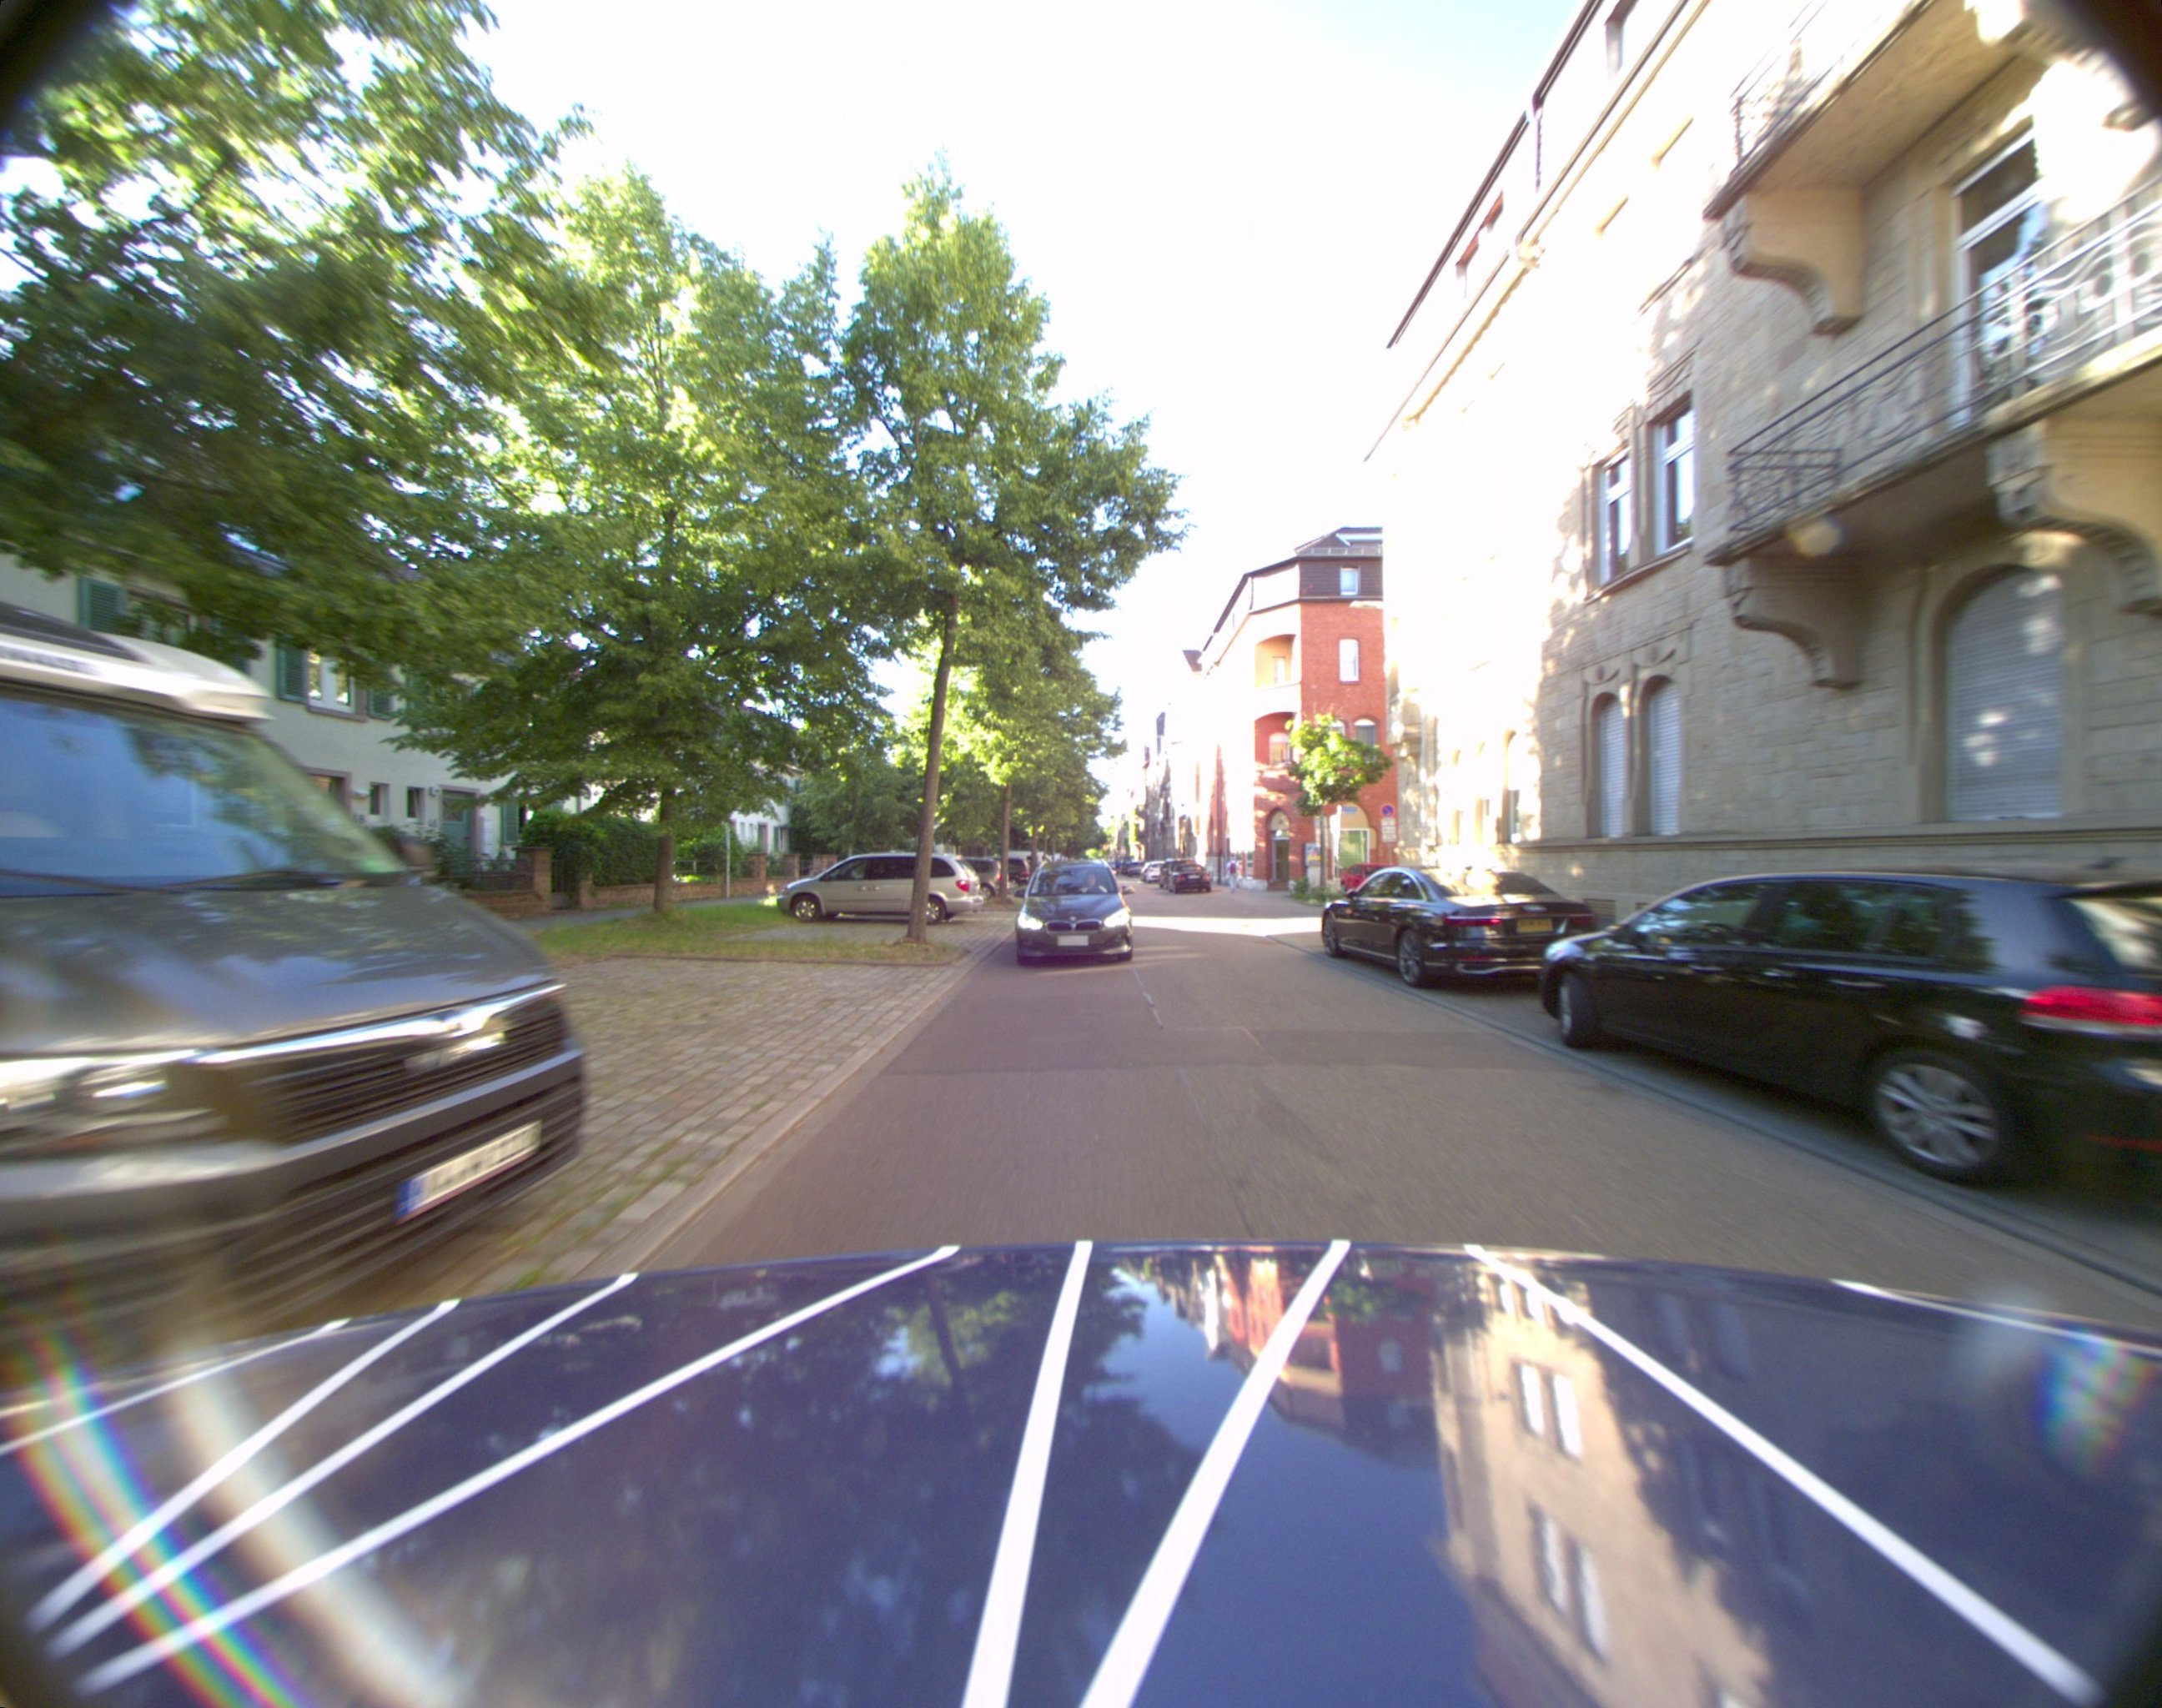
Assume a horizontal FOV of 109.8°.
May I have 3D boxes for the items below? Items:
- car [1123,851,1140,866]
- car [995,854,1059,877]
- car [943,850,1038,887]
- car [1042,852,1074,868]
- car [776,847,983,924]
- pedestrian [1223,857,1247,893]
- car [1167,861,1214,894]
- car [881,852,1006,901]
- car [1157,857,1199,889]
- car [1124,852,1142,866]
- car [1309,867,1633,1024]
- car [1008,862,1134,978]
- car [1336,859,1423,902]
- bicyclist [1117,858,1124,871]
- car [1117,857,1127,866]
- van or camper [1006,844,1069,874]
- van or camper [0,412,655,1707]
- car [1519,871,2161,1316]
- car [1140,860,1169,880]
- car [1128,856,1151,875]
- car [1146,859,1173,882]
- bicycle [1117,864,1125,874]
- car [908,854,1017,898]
[{"bbox_3d":[6.060,0.491,91.463,1.774,1.658,4.212,-1,1,0],"label":"car"},{"bbox_3d":[-4.157,0.853,59.041,4.850,1.530,1.894,3,0,-1],"label":"car"},{"bbox_3d":[-4.695,0.766,39.900,4.592,1.667,1.907,3,0,3],"label":"car"},{"bbox_3d":[-4.024,1.059,133.329,5.448,2.646,2.134,1,0,1],"label":"car"},{"bbox_3d":[-4.924,0.745,19.023,4.630,1.699,1.833,2,0,2],"label":"car"},{"bbox_3d":[7.052,0.939,34.784,0.890,1.568,1.053,-1,2,1],"label":"pedestrian"},{"bbox_3d":[5.244,1.083,36.838,1.640,1.402,4.333,-3,0,1],"label":"car"},{"bbox_3d":[-5.221,0.849,29.383,4.552,1.624,1.811,3,0,-5],"label":"car"},{"bbox_3d":[5.338,1.017,42.416,1.673,1.671,4.349,-1,0,-1],"label":"car"},{"bbox_3d":[5.763,0.553,84.909,1.774,1.493,4.211,0,1,0],"label":"car"},{"bbox_3d":[4.735,0.983,10.238,1.816,1.418,4.898,-3,0,0],"label":"car"},{"bbox_3d":[-0.095,0.969,13.197,1.753,1.596,4.551,-2,-1,1],"label":"car"},{"bbox_3d":[11.524,0.968,29.670,1.640,1.460,4.658,-1,0,1],"label":"car"},{"bbox_3d":[4.362,1.168,83.539,0.761,1.445,0.948,1,1,0],"label":"bicyclist"},{"bbox_3d":[7.289,1.402,135.844,1.686,1.496,3.629,-4,-1,2],"label":"car"},{"bbox_3d":[-4.119,0.503,72.559,5.733,2.502,2.162,3,0,0],"label":"van or camper"},{"bbox_3d":[-5.695,0.281,2.494,7.163,2.631,2.465,3,0,3],"label":"van or camper"},{"bbox_3d":[4.673,0.900,4.592,1.700,1.445,4.027,0,1,-1],"label":"car"},{"bbox_3d":[5.488,1.181,57.276,1.681,1.434,4.111,-2,0,0],"label":"car"},{"bbox_3d":[5.571,1.066,73.242,1.881,1.707,4.340,-1,0,1],"label":"car"},{"bbox_3d":[5.367,1.125,52.203,1.570,1.461,3.592,-1,0,3],"label":"car"},{"bbox_3d":[4.360,1.656,83.628,0.759,1.101,1.907,1,1,1],"label":"bicycle"},{"bbox_3d":[-5.009,0.923,32.430,4.282,1.624,1.691,3,0,4],"label":"car"}]
